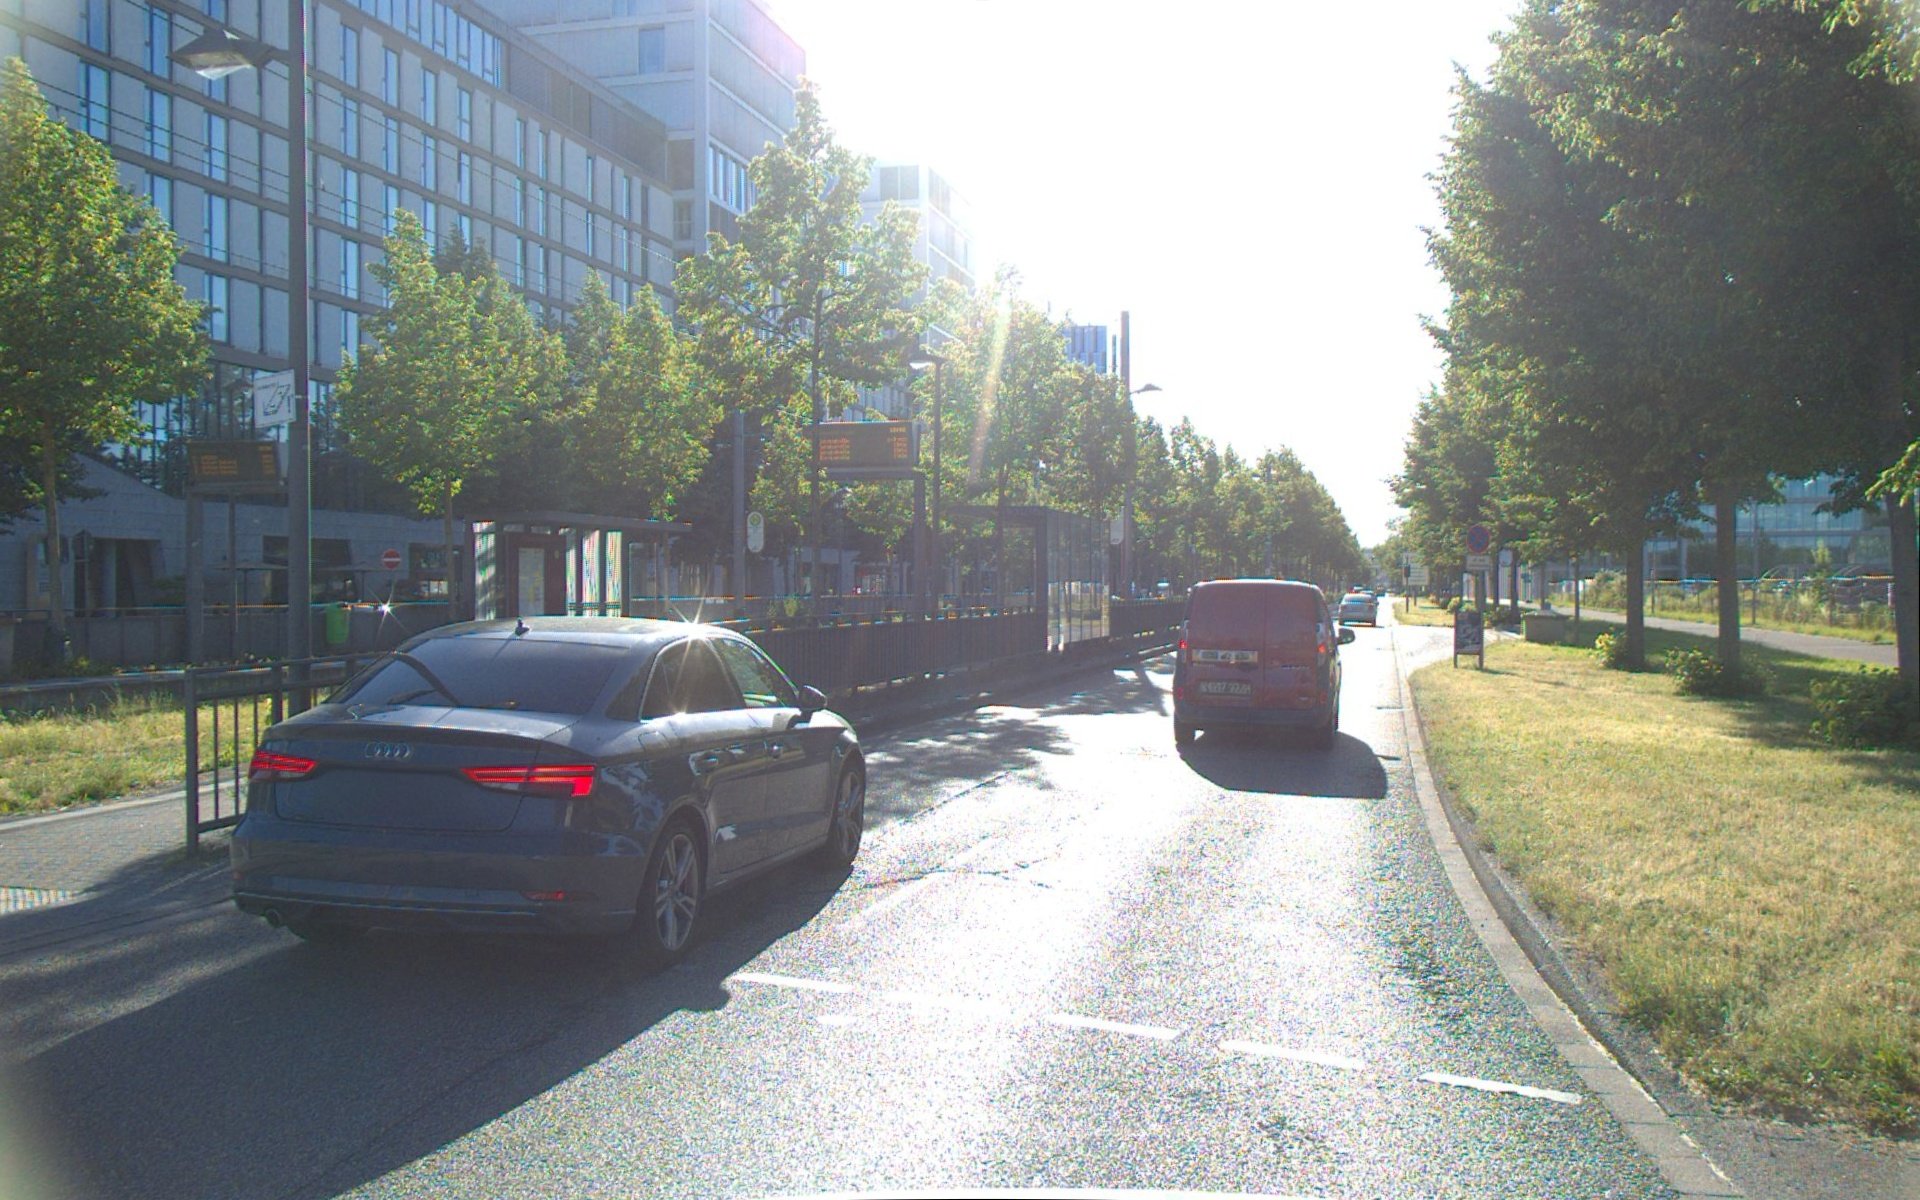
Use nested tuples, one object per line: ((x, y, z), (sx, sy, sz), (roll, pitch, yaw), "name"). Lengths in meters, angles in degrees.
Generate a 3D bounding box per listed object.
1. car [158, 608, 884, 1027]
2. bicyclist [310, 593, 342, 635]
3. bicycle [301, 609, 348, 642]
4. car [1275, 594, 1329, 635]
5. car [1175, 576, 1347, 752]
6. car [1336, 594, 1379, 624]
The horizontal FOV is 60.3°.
((-1.712, 0.772, 7.994), (1.684, 1.390, 4.149), (2, 0, 12), "car")
((-22.877, 0.497, 59.658), (0.705, 1.489, 0.832), (0, 1, 20), "bicyclist")
((-22.899, 0.926, 59.629), (0.717, 1.139, 1.571), (0, 1, 20), "bicycle")
((12.731, 0.532, 61.398), (1.901, 1.466, 4.003), (0, 0, 13), "car")
((3.565, 0.668, 19.198), (1.759, 1.808, 4.003), (0, 0, 13), "car")
((18.782, 0.421, 78.277), (1.901, 1.371, 4.003), (0, 0, 13), "car")
